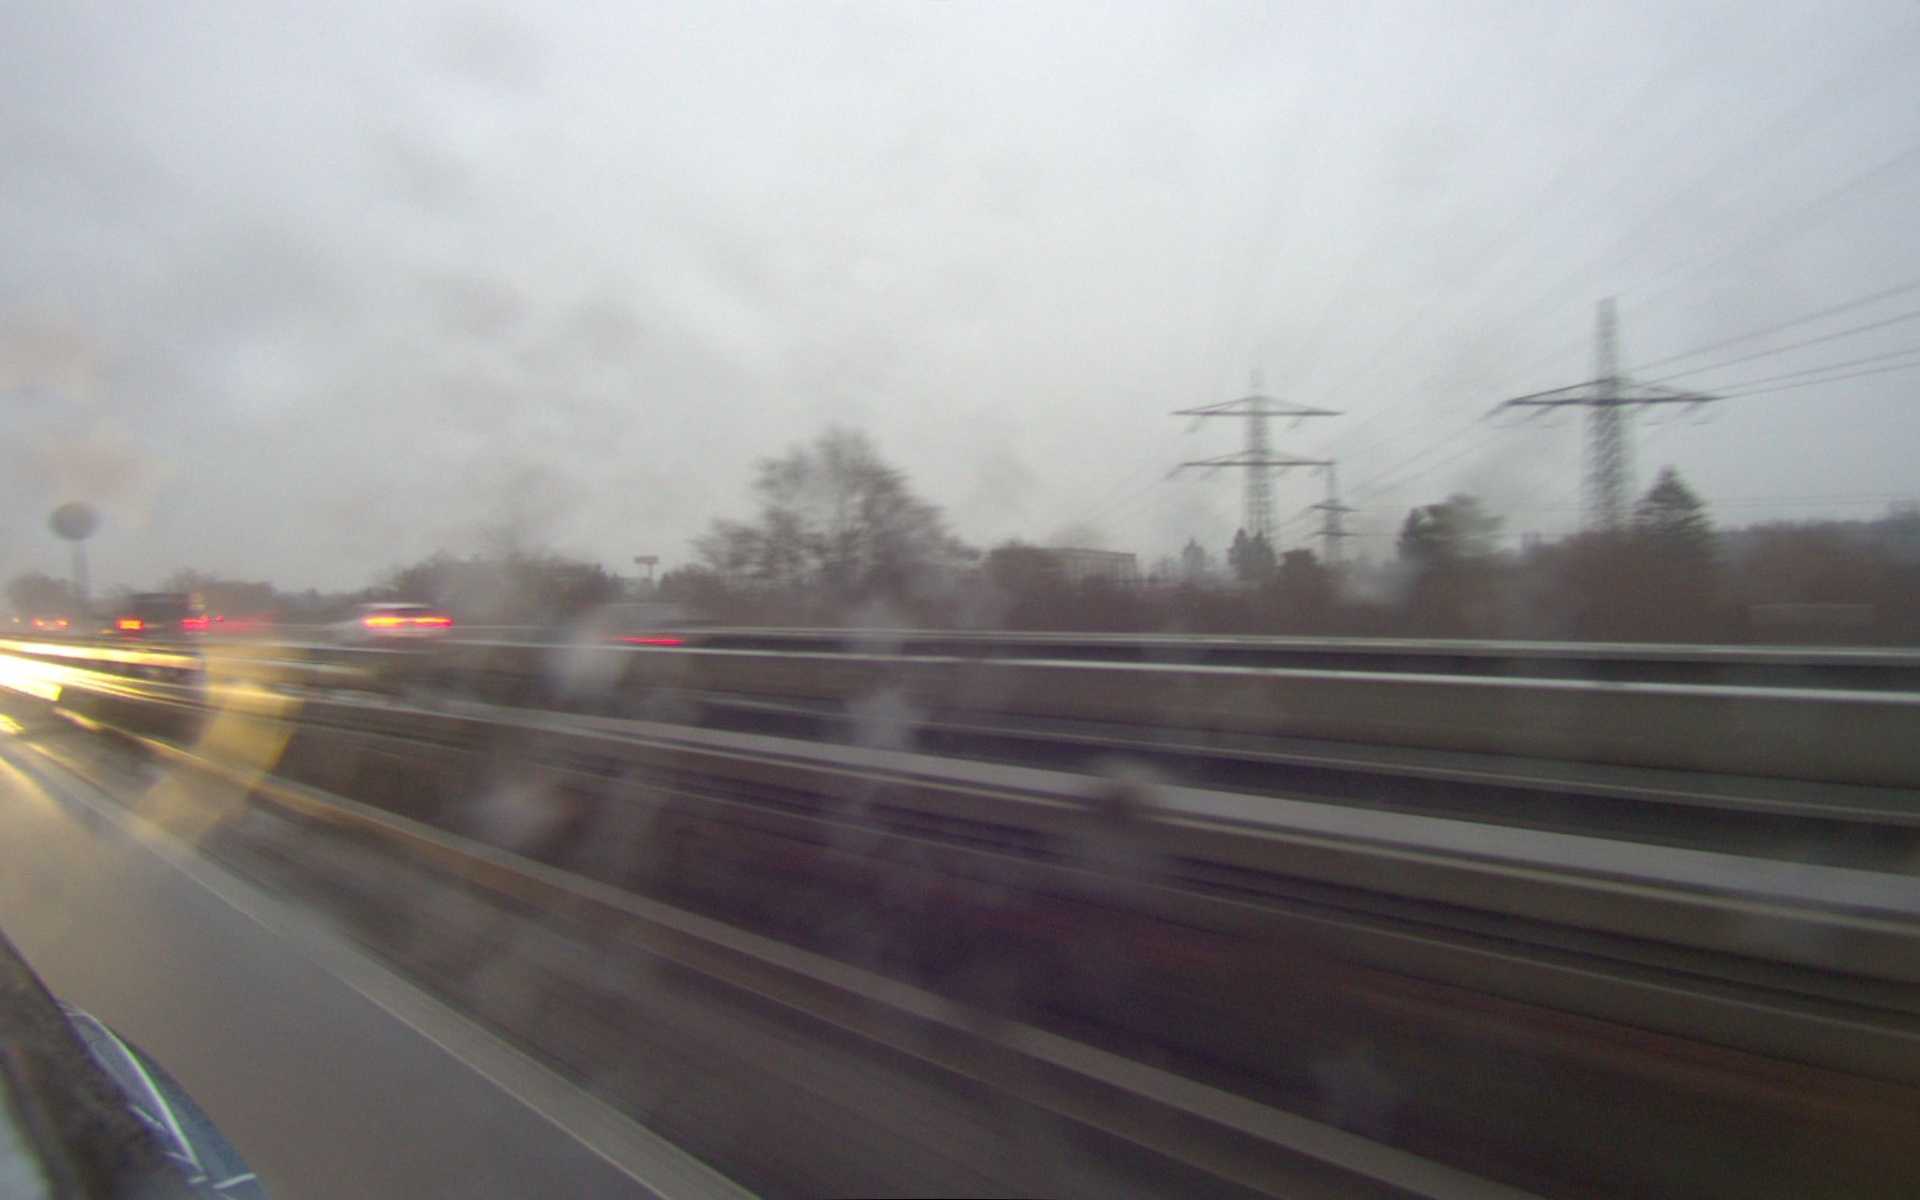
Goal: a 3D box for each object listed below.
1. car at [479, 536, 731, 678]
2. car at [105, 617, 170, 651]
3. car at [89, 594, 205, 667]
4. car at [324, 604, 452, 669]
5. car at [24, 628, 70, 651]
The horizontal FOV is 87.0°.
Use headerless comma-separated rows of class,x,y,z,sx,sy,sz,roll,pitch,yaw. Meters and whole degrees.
car,-6.257,0.136,17.549,4.759,2.130,2.049,-1,-1,41
car,-46.052,1.892,56.635,4.844,1.805,2.049,-1,-1,41
car,-25.645,0.933,31.877,4.759,2.130,2.049,-1,-1,41
car,-17.349,1.075,30.614,4.337,1.805,2.049,-1,-1,41
car,-68.598,2.993,76.003,4.388,1.563,1.964,-3,-2,40
